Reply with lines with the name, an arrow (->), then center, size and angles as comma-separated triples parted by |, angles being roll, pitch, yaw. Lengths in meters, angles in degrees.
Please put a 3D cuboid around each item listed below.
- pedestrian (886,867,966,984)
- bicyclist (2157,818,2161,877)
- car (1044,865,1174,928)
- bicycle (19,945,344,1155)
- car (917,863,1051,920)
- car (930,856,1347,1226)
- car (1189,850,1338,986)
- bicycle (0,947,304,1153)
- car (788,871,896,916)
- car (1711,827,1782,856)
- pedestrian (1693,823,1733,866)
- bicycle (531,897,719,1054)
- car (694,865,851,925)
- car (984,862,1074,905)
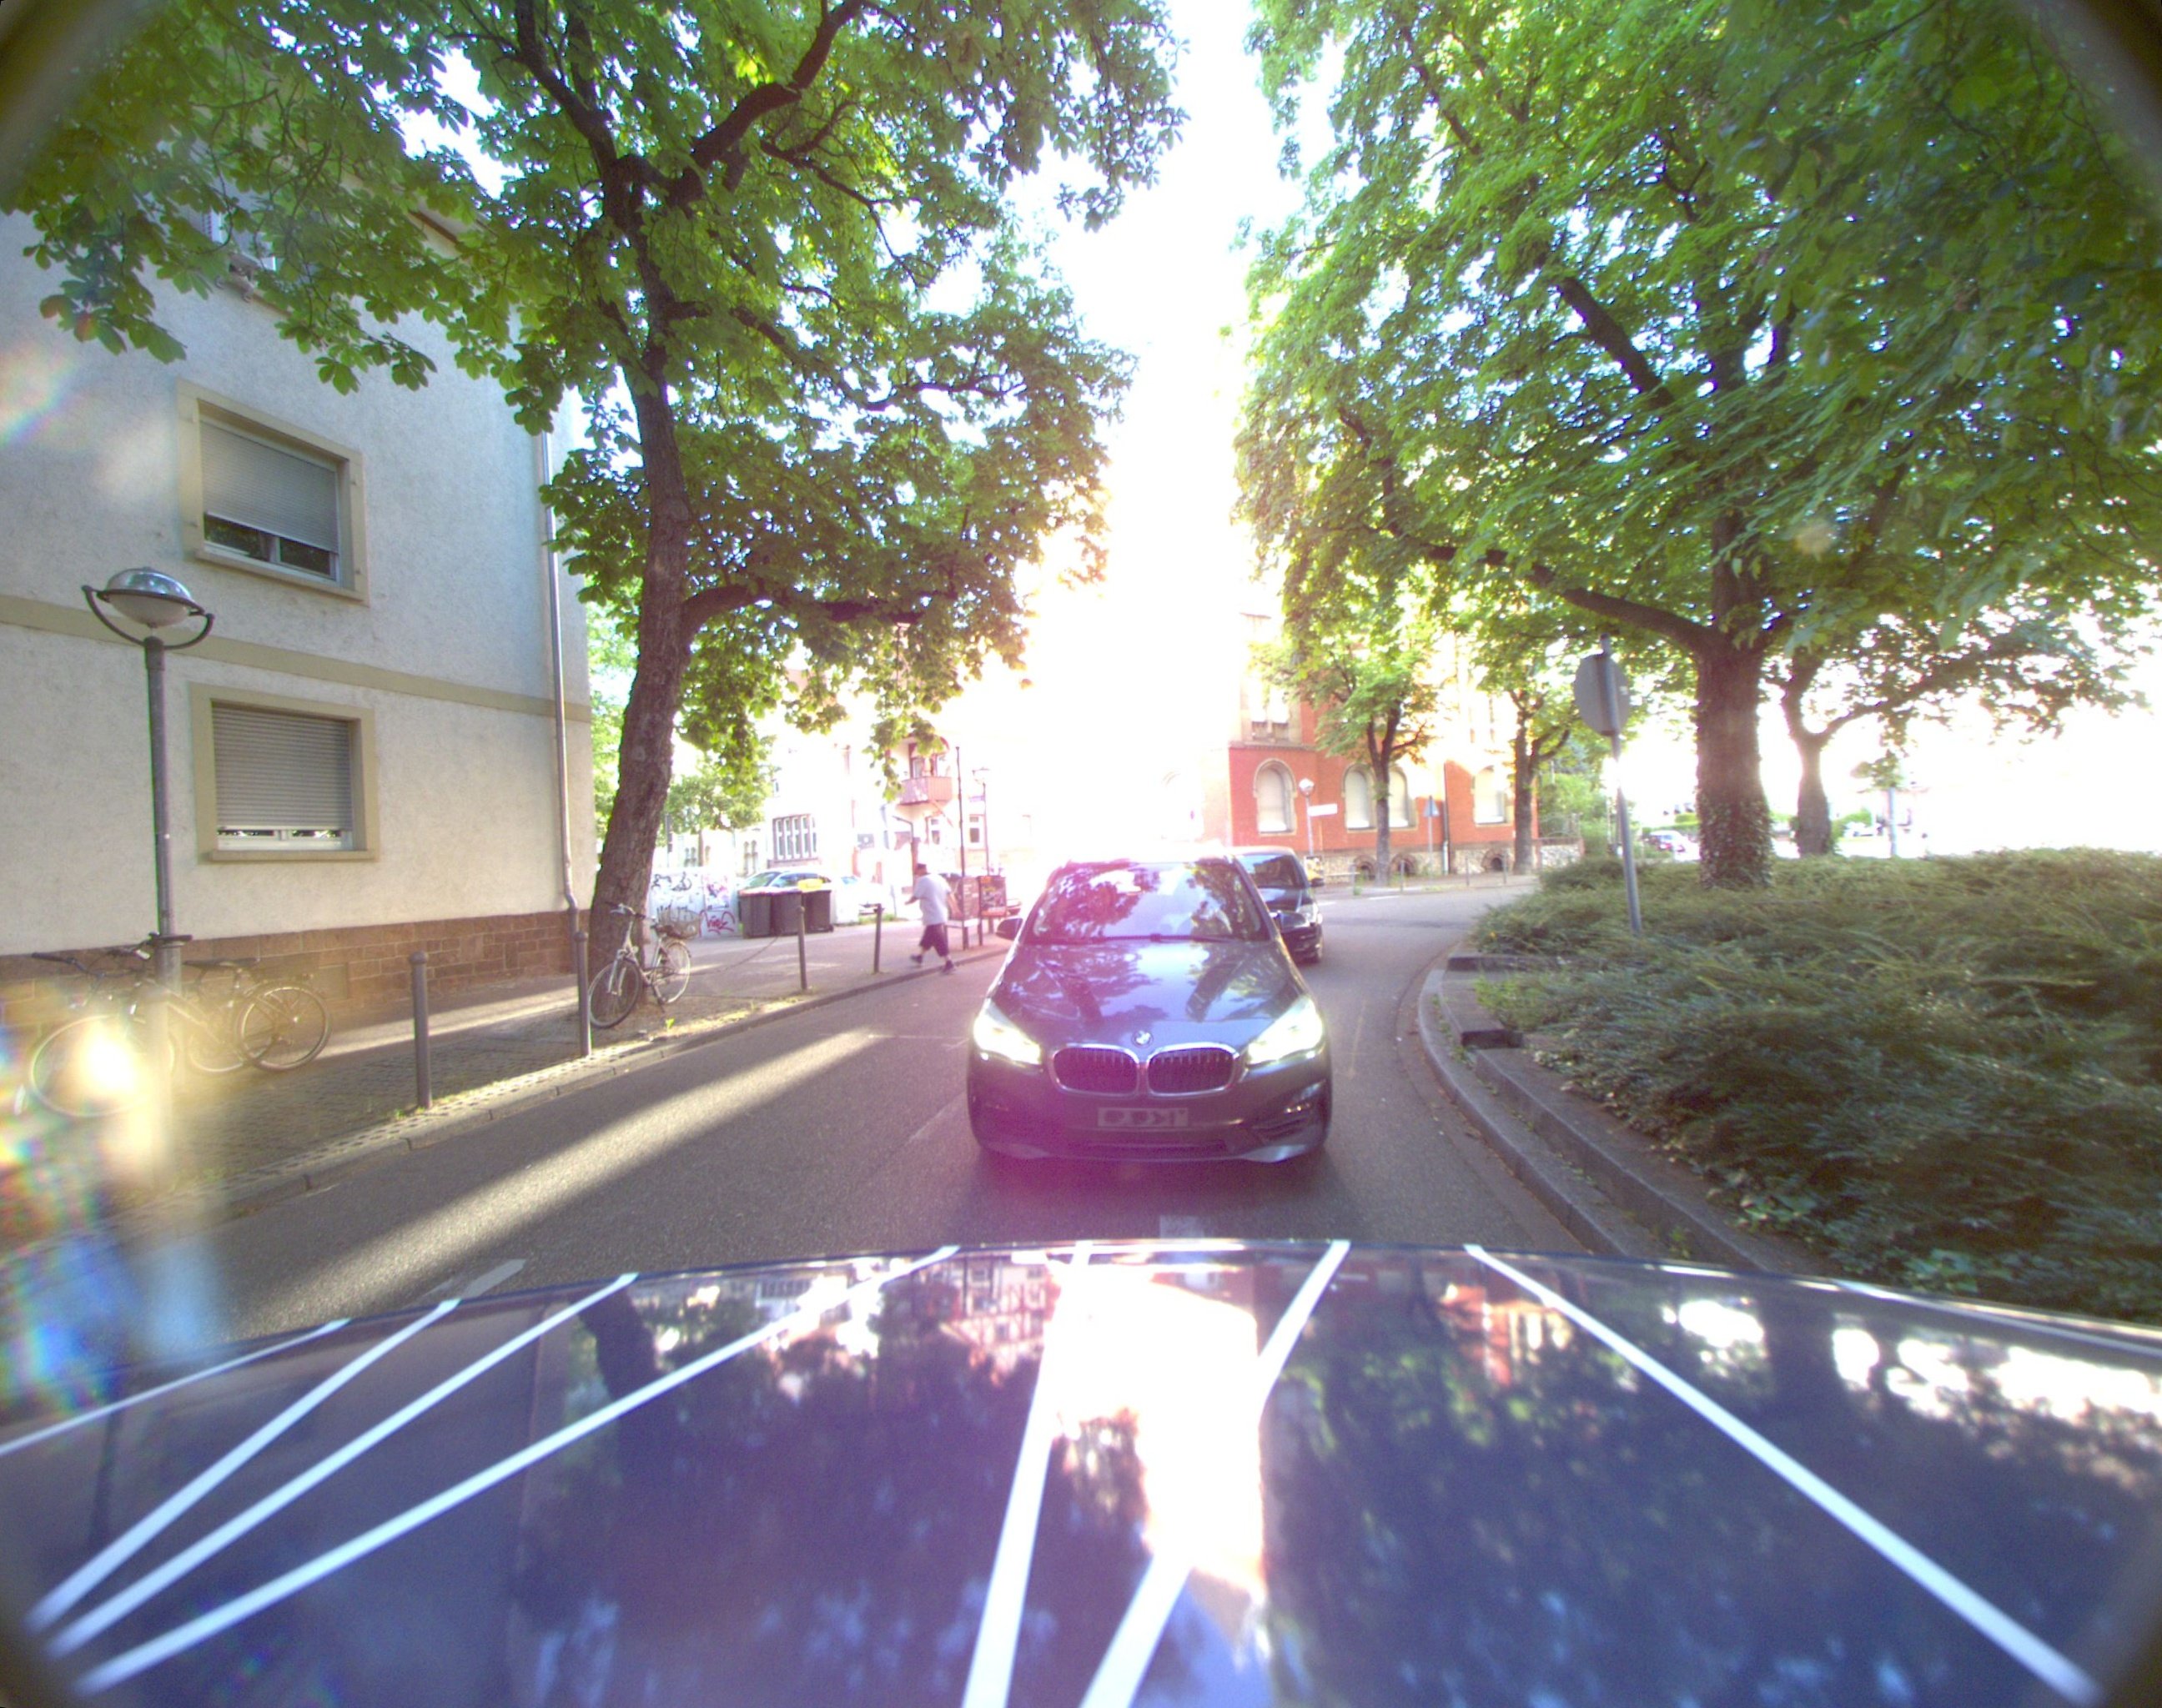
pedestrian -> -2.204, 0.993, 10.869 | 0.943, 1.583, 0.643 | 1, 1, 7
bicyclist -> 29.296, -0.184, 20.182 | 0.597, 1.564, 0.556 | -3, 0, 20
car -> 0.618, 1.033, 19.249 | 1.475, 1.381, 3.393 | -3, 0, -35
bicycle -> -6.366, 1.314, 5.526 | 0.334, 1.087, 1.636 | -3, 0, 1
car -> -3.040, 1.165, 23.479 | 4.041, 1.543, 1.700 | -3, 0, 39
car -> 0.463, 0.851, 5.491 | 1.792, 1.569, 4.262 | -2, 0, 6
car -> 2.522, 0.790, 11.276 | 1.678, 1.619, 3.690 | -3, 0, 7
bicycle -> -6.743, 1.328, 5.562 | 0.334, 1.087, 1.636 | -3, 0, 1
car -> -9.075, 1.502, 28.764 | 4.175, 1.543, 1.809 | -3, -1, 39
car -> 35.235, -0.660, 40.350 | 1.733, 1.409, 4.006 | -3, 0, 25
pedestrian -> 25.247, -0.390, 30.359 | 0.905, 1.625, 0.725 | -5, 0, -13
bicycle -> -4.601, 1.160, 7.867 | 0.767, 1.297, 1.903 | -3, 0, -1
car -> -8.805, 1.137, 21.952 | 1.672, 1.417, 3.811 | -3, 0, 36
car -> -2.028, 1.115, 29.047 | 3.207, 1.530, 1.495 | -2, 0, 38
